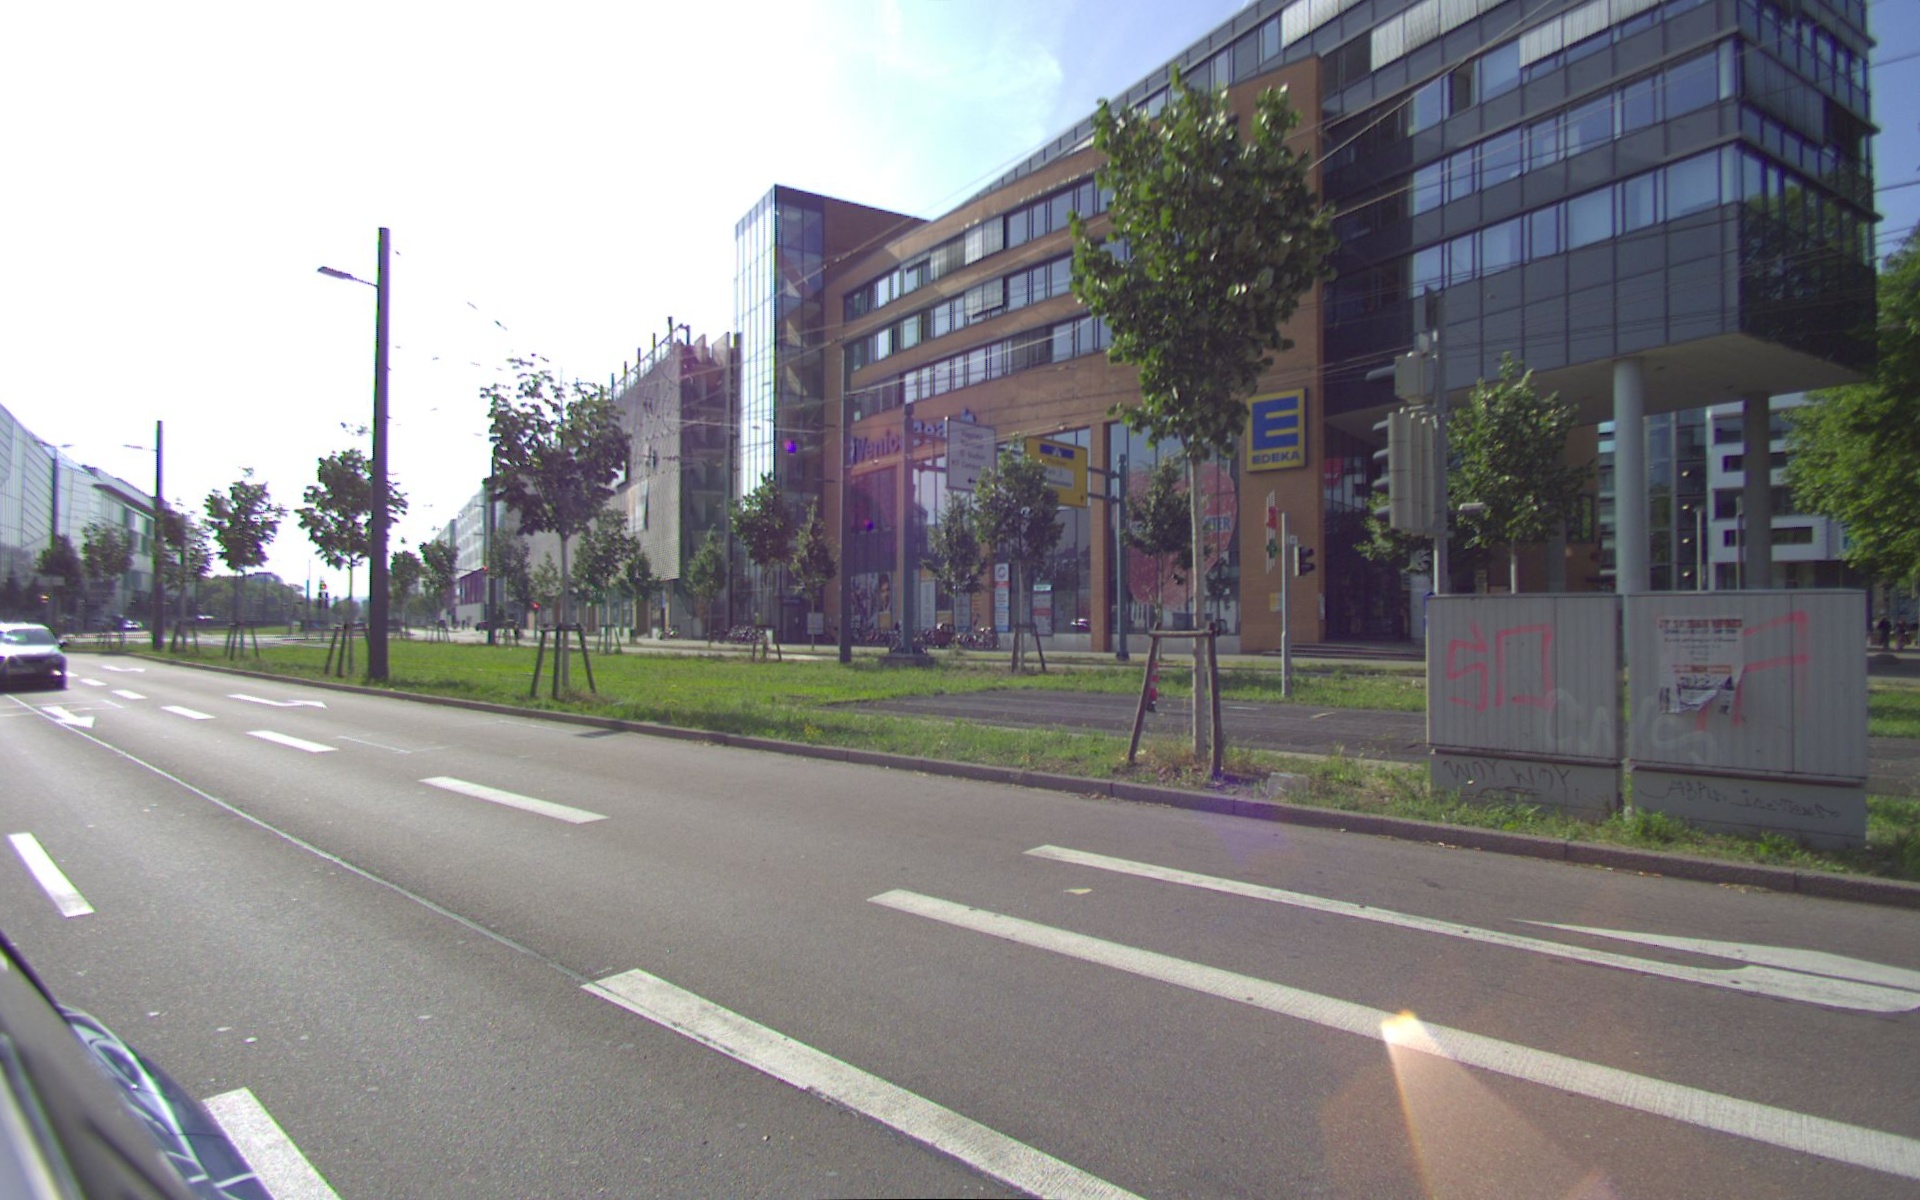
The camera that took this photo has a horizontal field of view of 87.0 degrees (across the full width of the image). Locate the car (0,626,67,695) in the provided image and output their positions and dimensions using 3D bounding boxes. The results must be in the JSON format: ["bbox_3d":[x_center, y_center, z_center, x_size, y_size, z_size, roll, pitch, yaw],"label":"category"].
[{"bbox_3d":[-21.442,1.311,22.769,3.895,1.430,1.621,-1,-2,43],"label":"car"}]

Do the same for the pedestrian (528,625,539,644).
[{"bbox_3d":[-35.903,2.892,85.184,0.751,1.591,0.591,1,-2,-36],"label":"pedestrian"}]

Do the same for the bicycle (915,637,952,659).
[{"bbox_3d":[-1.181,2.158,45.675,0.710,0.914,1.657,-1,1,44],"label":"bicycle"}]

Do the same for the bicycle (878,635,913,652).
[{"bbox_3d":[-3.608,2.446,56.826,2.021,0.928,0.575,1,-2,-37],"label":"bicycle"}]

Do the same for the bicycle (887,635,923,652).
[{"bbox_3d":[-3.053,2.415,56.092,2.021,0.928,0.575,1,-2,-37],"label":"bicycle"}]

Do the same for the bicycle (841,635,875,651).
[{"bbox_3d":[-6.043,2.527,59.851,2.021,0.928,0.575,1,-2,-37],"label":"bicycle"}]

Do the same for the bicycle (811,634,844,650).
[{"bbox_3d":[-8.196,2.593,62.840,2.021,0.928,0.575,1,-2,-37],"label":"bicycle"}]

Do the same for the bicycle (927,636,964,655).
[{"bbox_3d":[-0.766,2.402,53.413,2.021,0.928,0.575,1,-2,-37],"label":"bicycle"}]

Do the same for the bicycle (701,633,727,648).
[{"bbox_3d":[-16.351,2.681,67.270,1.557,0.947,0.474,1,-2,-33],"label":"bicycle"}]

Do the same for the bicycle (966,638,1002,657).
[{"bbox_3d":[1.221,2.380,50.755,2.021,0.928,0.381,1,-2,-37],"label":"bicycle"}]

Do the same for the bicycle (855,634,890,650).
[{"bbox_3d":[-5.098,2.435,58.827,2.021,0.928,0.575,1,-2,-37],"label":"bicycle"}]

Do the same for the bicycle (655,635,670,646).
[{"bbox_3d":[-22.349,3.051,76.109,1.007,0.758,0.362,1,-2,-31],"label":"bicycle"}]

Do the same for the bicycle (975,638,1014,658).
[{"bbox_3d":[1.696,2.385,50.190,2.021,0.928,0.575,1,-2,-37],"label":"bicycle"}]

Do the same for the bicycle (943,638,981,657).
[{"bbox_3d":[0.119,2.413,51.980,2.021,0.928,0.575,1,-2,-37],"label":"bicycle"}]

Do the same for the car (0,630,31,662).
[{"bbox_3d":[-43.120,2.057,45.544,3.163,1.353,1.566,-1,-2,41],"label":"car"}]

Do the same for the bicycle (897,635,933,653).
[{"bbox_3d":[-2.473,2.418,55.451,2.021,0.928,0.575,1,-2,-37],"label":"bicycle"}]

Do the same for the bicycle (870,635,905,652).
[{"bbox_3d":[-4.119,2.446,57.497,2.021,0.928,0.575,1,-2,-37],"label":"bicycle"}]

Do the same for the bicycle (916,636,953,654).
[{"bbox_3d":[-1.350,2.394,54.103,2.021,0.928,0.575,1,-2,-37],"label":"bicycle"}]

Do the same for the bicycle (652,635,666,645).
[{"bbox_3d":[-22.956,3.057,77.140,0.989,0.758,0.453,1,-2,-31],"label":"bicycle"}]

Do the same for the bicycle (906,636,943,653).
[{"bbox_3d":[-1.927,2.408,54.892,2.021,0.928,0.575,1,-2,-37],"label":"bicycle"}]

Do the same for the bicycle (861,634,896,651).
[{"bbox_3d":[-4.692,2.452,58.158,2.021,0.928,0.575,1,-2,-37],"label":"bicycle"}]
